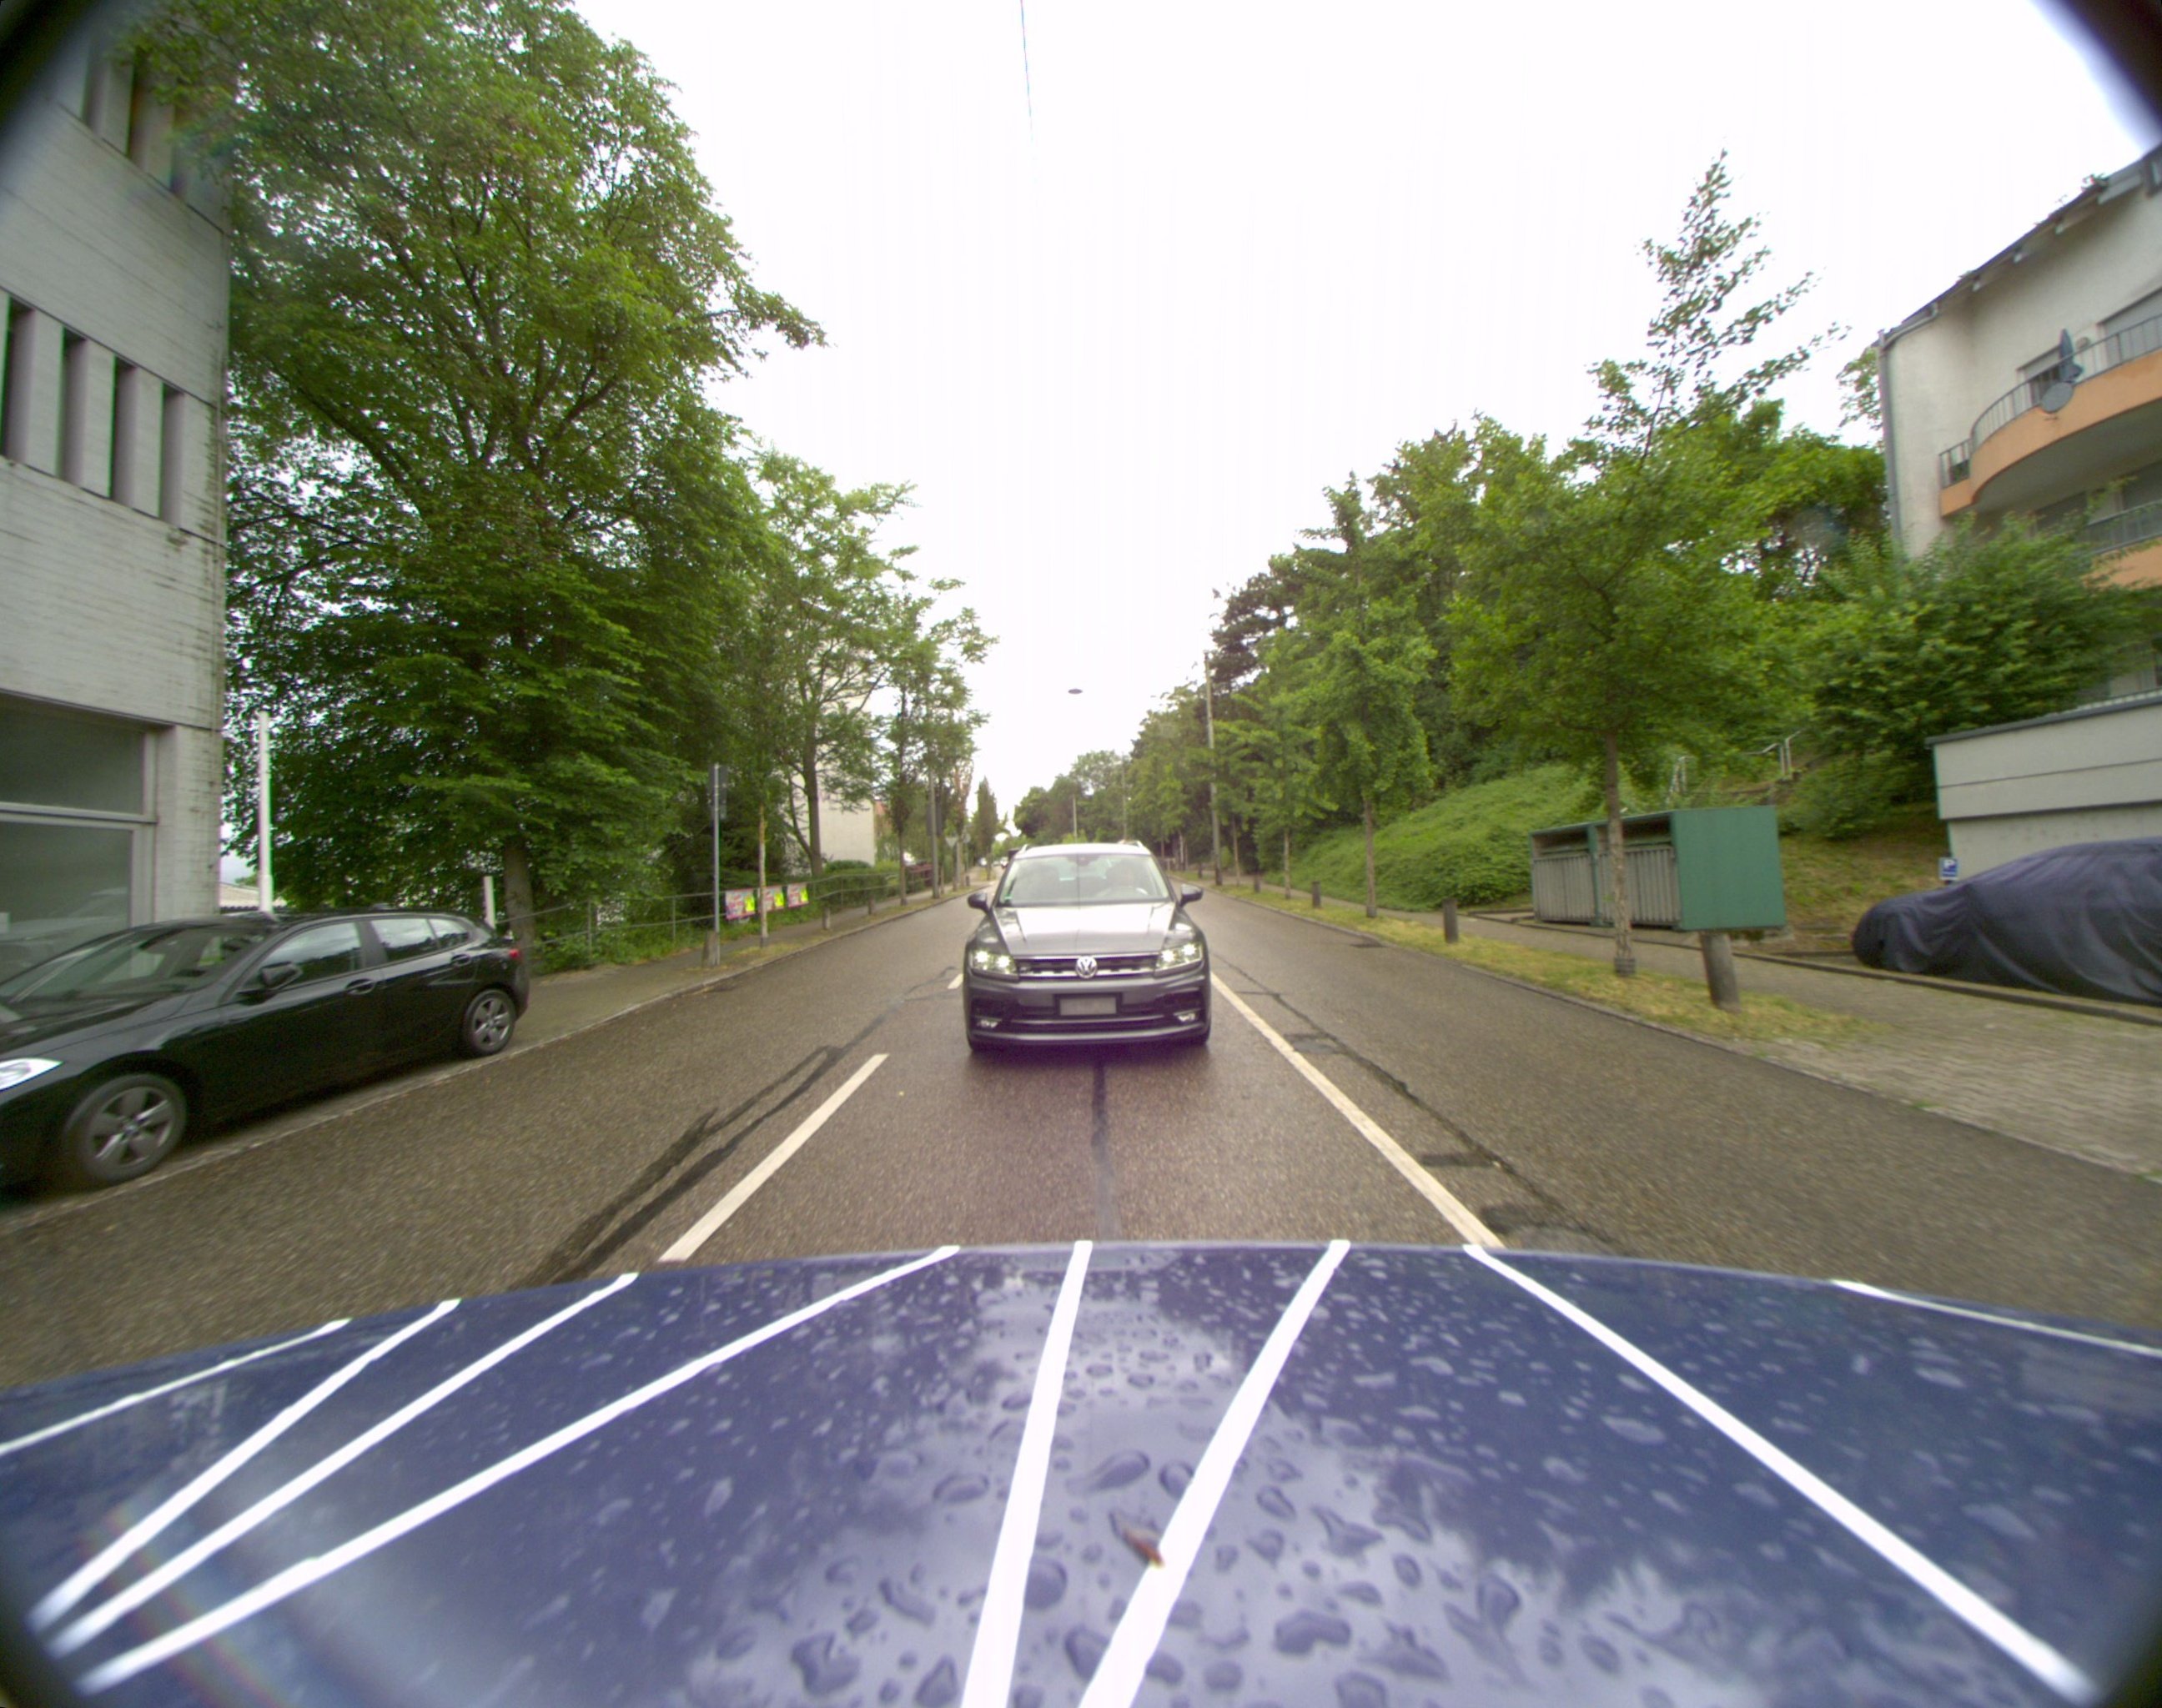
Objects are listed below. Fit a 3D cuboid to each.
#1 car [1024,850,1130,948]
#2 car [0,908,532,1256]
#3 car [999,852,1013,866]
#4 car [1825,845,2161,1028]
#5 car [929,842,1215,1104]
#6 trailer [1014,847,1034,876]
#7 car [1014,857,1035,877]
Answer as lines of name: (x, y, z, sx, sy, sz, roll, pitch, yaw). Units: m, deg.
car: (-0.046, 0.769, 15.333, 1.786, 1.632, 4.199, -2, 0, 1)
car: (-6.279, 1.268, 5.325, 1.843, 1.436, 4.155, -1, 0, 0)
car: (-11.211, 0.756, 113.559, 1.999, 2.002, 3.997, -2, 1, -6)
car: (9.698, 0.702, 6.967, 1.856, 1.483, 3.864, 2, 0, -1)
car: (-0.032, 0.760, 7.023, 1.786, 1.632, 4.199, -2, 0, 1)
trailer: (-5.525, 0.713, 73.139, 1.771, 2.610, 3.031, -2, 1, -5)
car: (-5.215, 1.195, 69.912, 1.737, 1.610, 3.473, -2, 1, -6)
